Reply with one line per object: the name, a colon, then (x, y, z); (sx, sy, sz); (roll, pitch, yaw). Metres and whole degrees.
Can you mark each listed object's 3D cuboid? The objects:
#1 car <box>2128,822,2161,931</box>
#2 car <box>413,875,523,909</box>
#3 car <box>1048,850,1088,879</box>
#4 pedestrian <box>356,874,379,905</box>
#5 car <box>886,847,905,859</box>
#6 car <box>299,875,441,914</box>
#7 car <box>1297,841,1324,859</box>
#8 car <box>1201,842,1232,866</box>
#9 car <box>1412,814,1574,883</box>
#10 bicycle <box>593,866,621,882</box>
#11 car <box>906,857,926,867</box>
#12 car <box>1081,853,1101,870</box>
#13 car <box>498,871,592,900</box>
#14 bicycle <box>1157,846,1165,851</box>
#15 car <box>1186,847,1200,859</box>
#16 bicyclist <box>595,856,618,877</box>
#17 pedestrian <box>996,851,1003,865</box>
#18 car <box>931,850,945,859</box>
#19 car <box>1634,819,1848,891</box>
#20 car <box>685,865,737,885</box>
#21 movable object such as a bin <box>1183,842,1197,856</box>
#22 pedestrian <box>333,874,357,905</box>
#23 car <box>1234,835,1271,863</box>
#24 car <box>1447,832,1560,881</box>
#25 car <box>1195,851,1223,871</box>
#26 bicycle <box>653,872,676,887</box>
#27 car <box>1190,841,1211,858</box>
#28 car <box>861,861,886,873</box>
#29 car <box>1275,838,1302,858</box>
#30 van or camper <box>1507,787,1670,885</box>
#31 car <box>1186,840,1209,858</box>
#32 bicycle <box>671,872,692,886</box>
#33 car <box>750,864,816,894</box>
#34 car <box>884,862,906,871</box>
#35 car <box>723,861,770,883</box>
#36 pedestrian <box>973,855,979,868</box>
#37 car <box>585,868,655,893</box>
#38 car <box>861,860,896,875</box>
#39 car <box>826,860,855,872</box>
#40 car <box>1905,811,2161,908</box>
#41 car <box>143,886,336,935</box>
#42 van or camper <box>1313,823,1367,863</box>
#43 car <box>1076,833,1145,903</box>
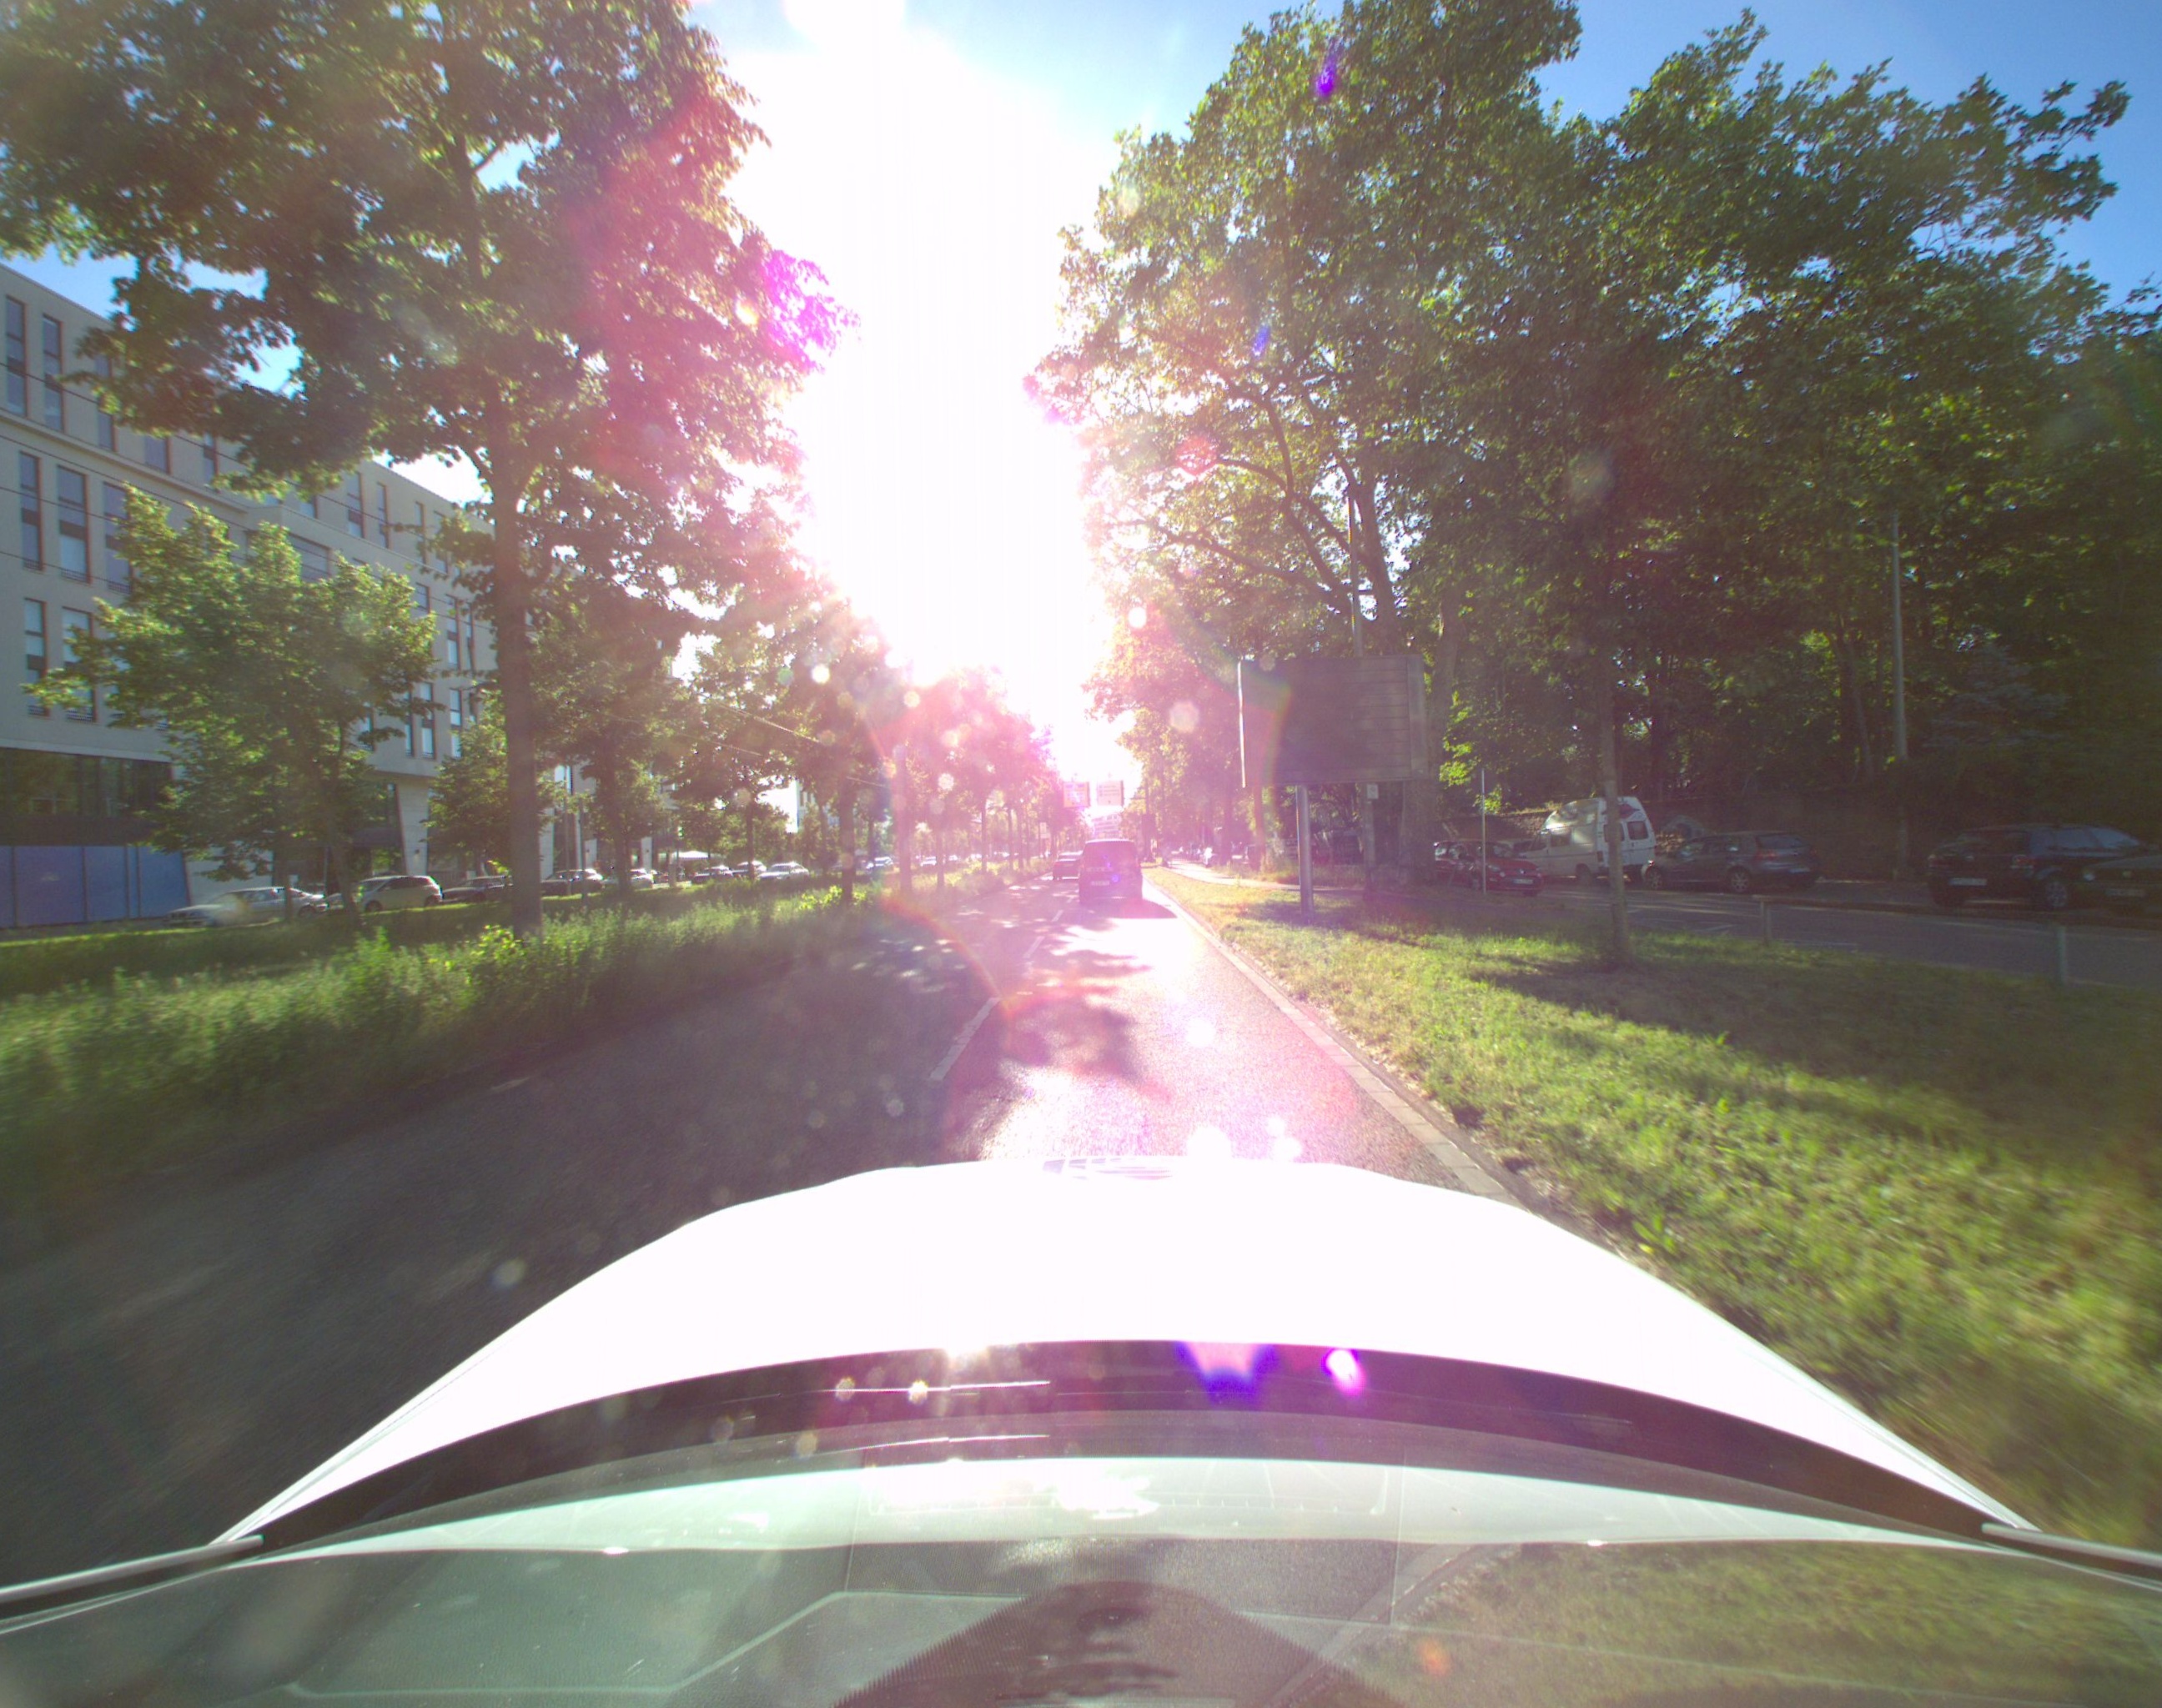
car: (16.420, 0.092, 9.869); (4.701, 1.406, 2.001); (-5, 0, 2)
car: (-29.807, 1.812, 39.773); (1.987, 1.441, 4.455); (0, 0, 0)
car: (-0.607, 0.530, 41.743); (1.785, 1.428, 4.002); (0, 0, 2)
pedestrian: (-38.928, 1.913, 44.420); (0.633, 1.651, 0.720); (0, -1, 0)
car: (-32.978, -0.182, 144.870); (1.985, 2.014, 4.567); (0, 0, 3)
car: (-29.794, 1.660, 34.349); (1.986, 1.441, 4.458); (0, 0, 2)
car: (20.148, -0.353, 71.674); (1.681, 1.472, 3.766); (-4, 0, 8)
car: (9.317, 0.021, 56.064); (1.784, 1.560, 4.026); (1, 0, 5)
car: (10.794, -0.125, 21.708); (1.991, 1.640, 3.991); (0, 0, -6)
bicycle: (-31.540, 1.315, 54.195); (0.495, 1.001, 2.189); (0, 0, 2)
car: (-26.477, 1.317, 130.671); (1.985, 1.608, 4.615); (-1, 0, 3)
car: (1.043, 0.768, 83.710); (1.986, 1.618, 4.002); (0, 0, 2)
car: (-29.877, 1.698, 45.586); (1.987, 1.441, 4.935); (0, 0, 0)
bicycle: (18.783, -1.310, 191.025); (1.771, 1.268, 0.479); (-1, -1, 3)
car: (15.309, -0.124, 111.427); (1.654, 1.500, 2.993); (-1, 0, 5)
bicyclist: (-31.547, 0.816, 54.156); (0.487, 1.405, 1.661); (0, 0, 2)
pedestrian: (-10.353, 0.498, 104.035); (0.818, 1.836, 0.726); (0, -1, -1)
car: (-31.272, 0.084, 178.344); (1.985, 2.014, 4.567); (-1, 0, 3)
car: (16.588, 0.035, 20.777); (1.990, 1.574, 3.993); (-3, 0, -5)
car: (-28.729, 1.643, 63.352); (1.950, 1.441, 4.268); (-1, 0, 2)
movable object such as a bin: (16.266, -0.738, 121.785); (2.071, 2.014, 2.140); (-1, 0, 6)
pedestrian: (-39.751, 1.918, 43.997); (0.634, 1.651, 0.719); (0, -1, -5)
car: (10.525, -0.302, 50.217); (1.783, 1.634, 4.635); (-1, 0, 7)
car: (16.437, 0.081, 31.916); (1.839, 1.617, 3.988); (-6, 1, -8)
car: (9.883, 0.545, 63.209); (1.785, 1.438, 3.888); (-1, 0, 4)
bicycle: (-35.796, 2.210, 70.007); (0.731, 1.198, 2.241); (0, 0, 1)
car: (11.804, -0.447, 80.757); (1.729, 1.642, 4.357); (-1, 0, 3)
car: (-27.730, 1.738, 108.837); (1.871, 1.621, 4.615); (-1, 0, 3)
car: (21.599, -0.627, 84.866); (2.076, 2.013, 4.952); (-2, 0, 7)
van or camper: (16.282, -0.531, 26.532); (1.988, 2.731, 4.962); (-5, 0, -1)
car: (13.341, -0.526, 93.331); (2.180, 2.014, 5.825); (-1, 0, 4)
bicycle: (-35.655, 2.220, 72.734); (0.731, 1.198, 2.241); (0, 0, 1)
car: (-18.016, 1.464, 49.567); (1.986, 1.686, 5.112); (0, 0, 2)
car: (-26.973, 1.779, 118.417); (1.904, 1.325, 4.615); (-1, 0, 3)
car: (-28.642, 1.531, 69.878); (1.987, 1.772, 4.775); (0, 0, 0)
pedestrian: (-13.146, 0.945, 101.816); (0.547, 1.518, 0.590); (-1, -1, 7)
car: (-29.495, 1.682, 52.274); (1.987, 1.441, 4.455); (0, 0, 0)
car: (-19.970, 1.288, 80.475); (1.984, 1.441, 4.709); (-1, 0, 5)
car: (-28.016, 1.386, 95.069); (1.872, 1.435, 4.612); (0, 0, 1)
car: (17.286, 0.063, 14.366); (3.981, 1.505, 1.762); (-2, 0, -6)
car: (-30.103, 1.964, 29.414); (1.987, 1.441, 4.778); (0, 0, 0)
van or camper: (19.426, -0.848, 61.518); (2.543, 2.684, 6.577); (-4, 0, 7)
car: (0.776, 0.383, 23.732); (1.803, 1.838, 3.998); (0, 0, -1)
